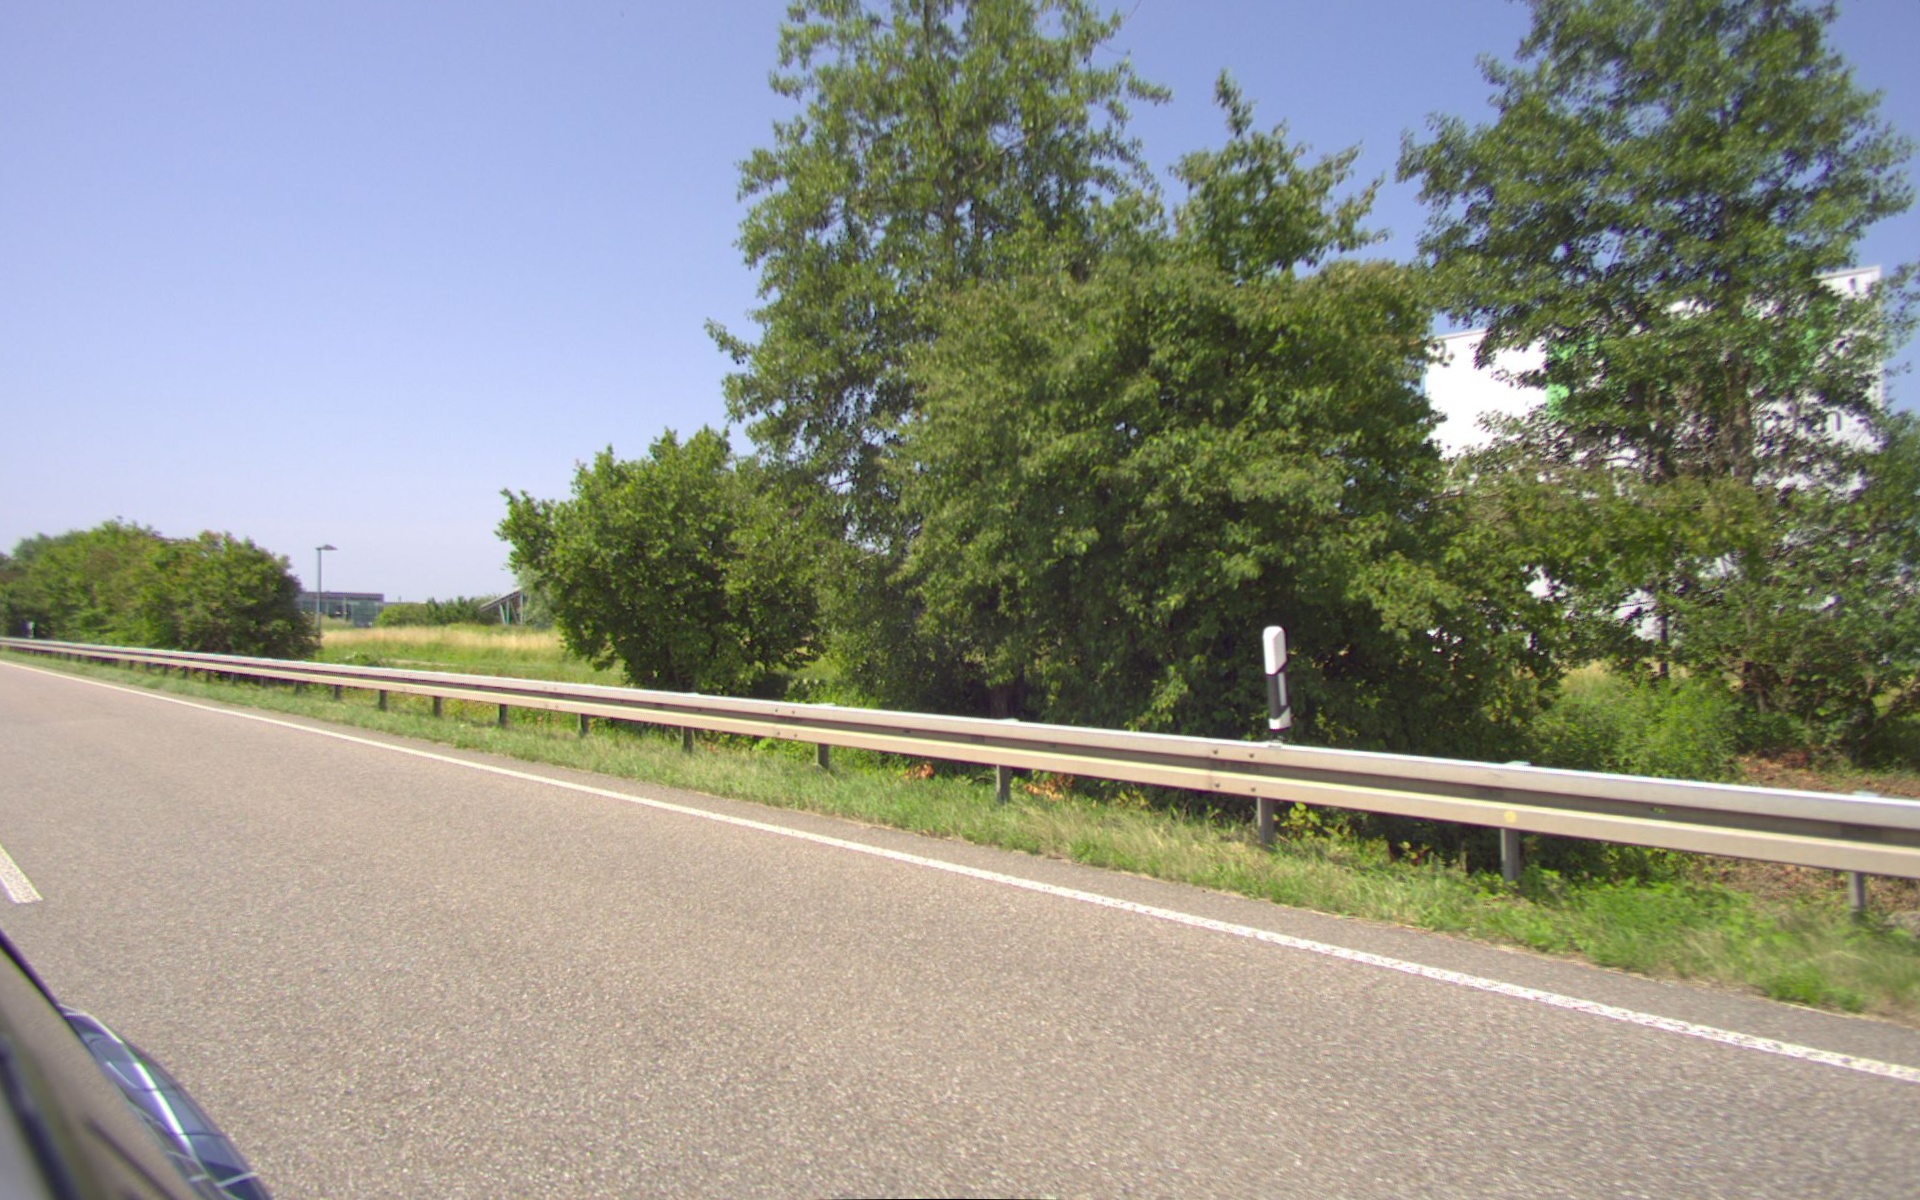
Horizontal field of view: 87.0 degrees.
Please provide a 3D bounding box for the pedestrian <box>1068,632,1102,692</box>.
[{"bbox_3d":[3.783,1.852,30.672,0.707,1.762,0.940,0,-1,-17],"label":"pedestrian"}]
